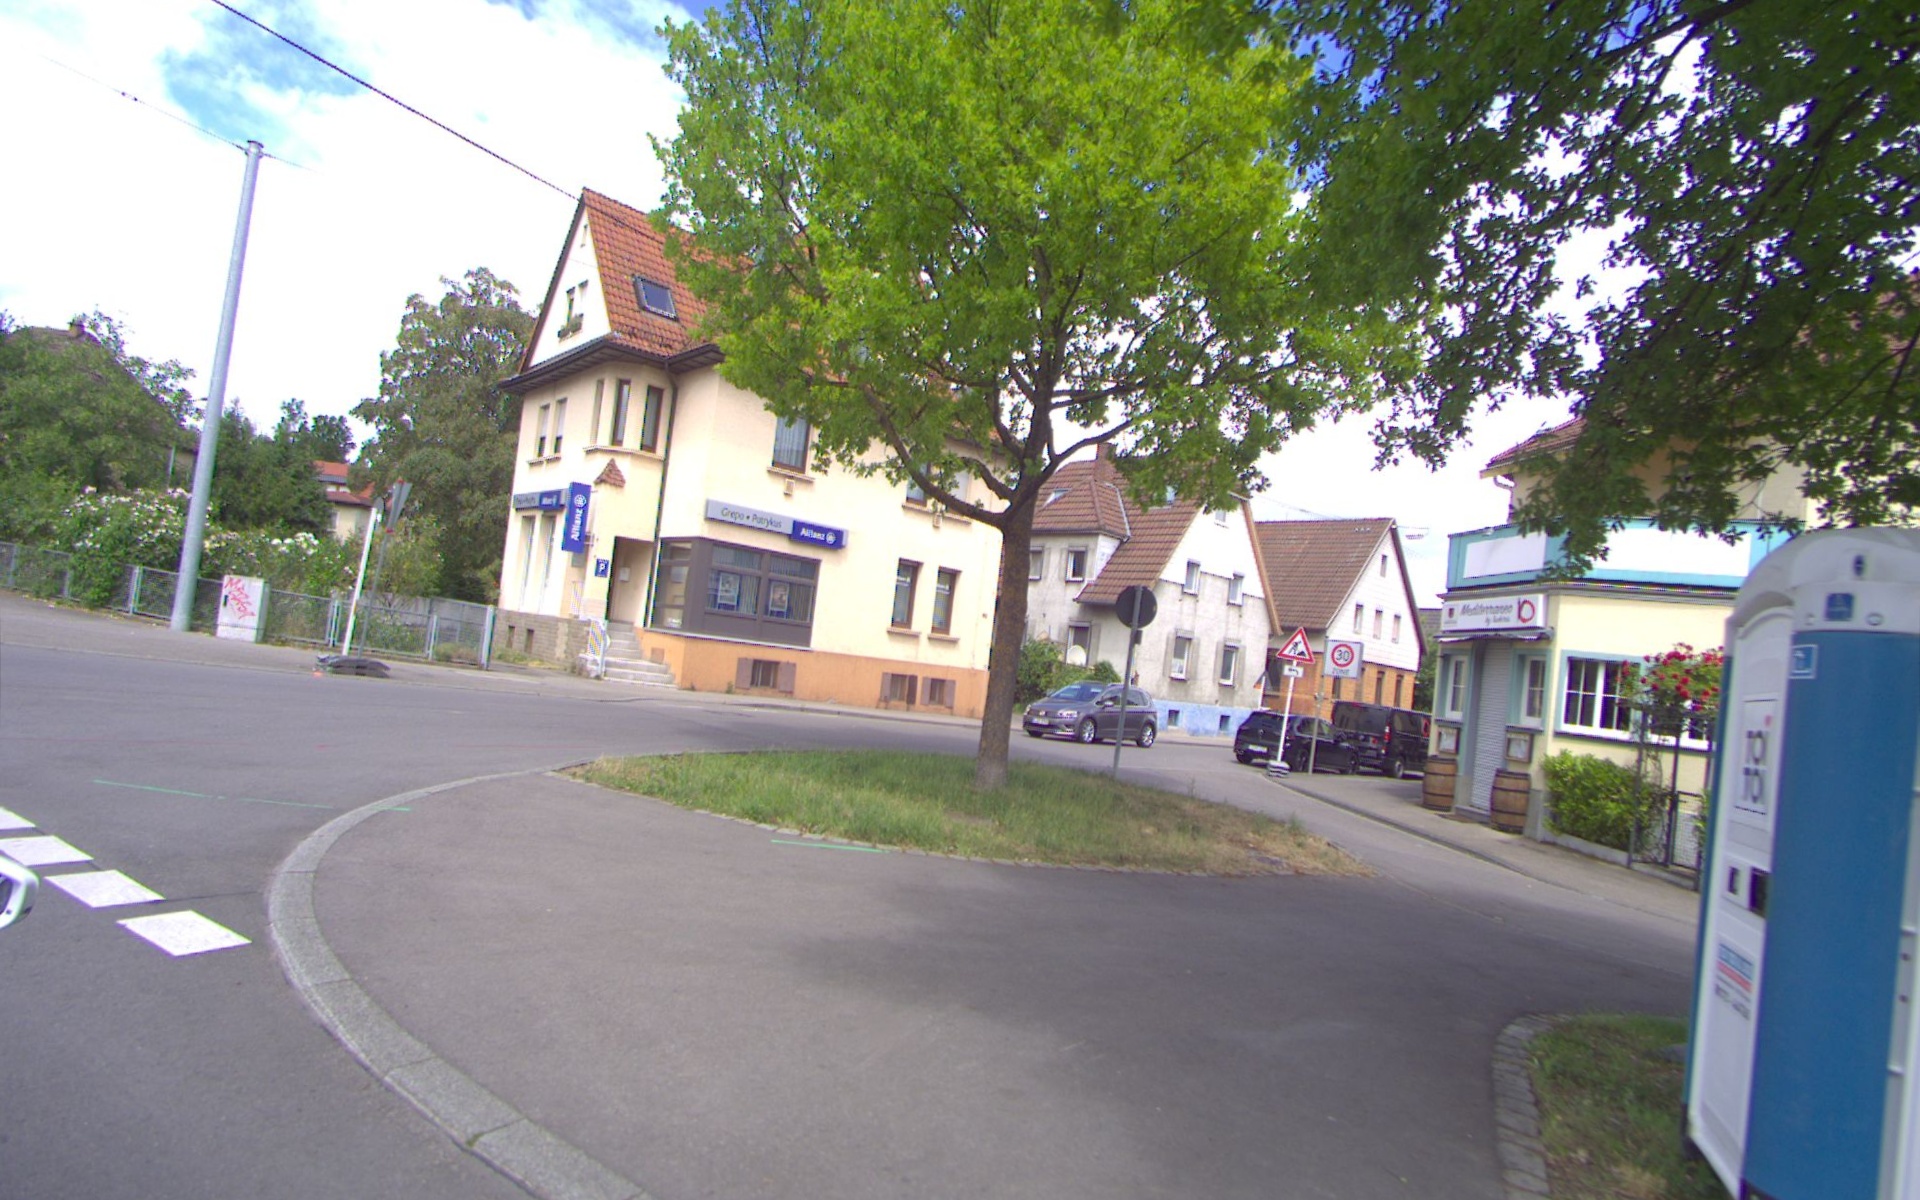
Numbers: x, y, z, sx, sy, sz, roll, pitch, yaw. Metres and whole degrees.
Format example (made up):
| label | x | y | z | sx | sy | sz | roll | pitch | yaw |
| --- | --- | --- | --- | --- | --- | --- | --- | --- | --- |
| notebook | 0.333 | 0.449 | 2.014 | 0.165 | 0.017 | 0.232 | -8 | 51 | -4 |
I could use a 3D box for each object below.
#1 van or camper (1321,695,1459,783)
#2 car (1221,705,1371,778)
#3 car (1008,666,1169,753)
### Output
| label | x | y | z | sx | sy | sz | roll | pitch | yaw |
| --- | --- | --- | --- | --- | --- | --- | --- | --- | --- |
| van or camper | 12.381 | 4.018 | 28.879 | 4.064 | 2.021 | 1.833 | 10 | -3 | -39 |
| car | 8.631 | 3.640 | 25.691 | 3.973 | 1.392 | 1.695 | 10 | -3 | -39 |
| car | 3.318 | 2.806 | 25.489 | 1.846 | 1.642 | 3.982 | 5 | -5 | 45 |
